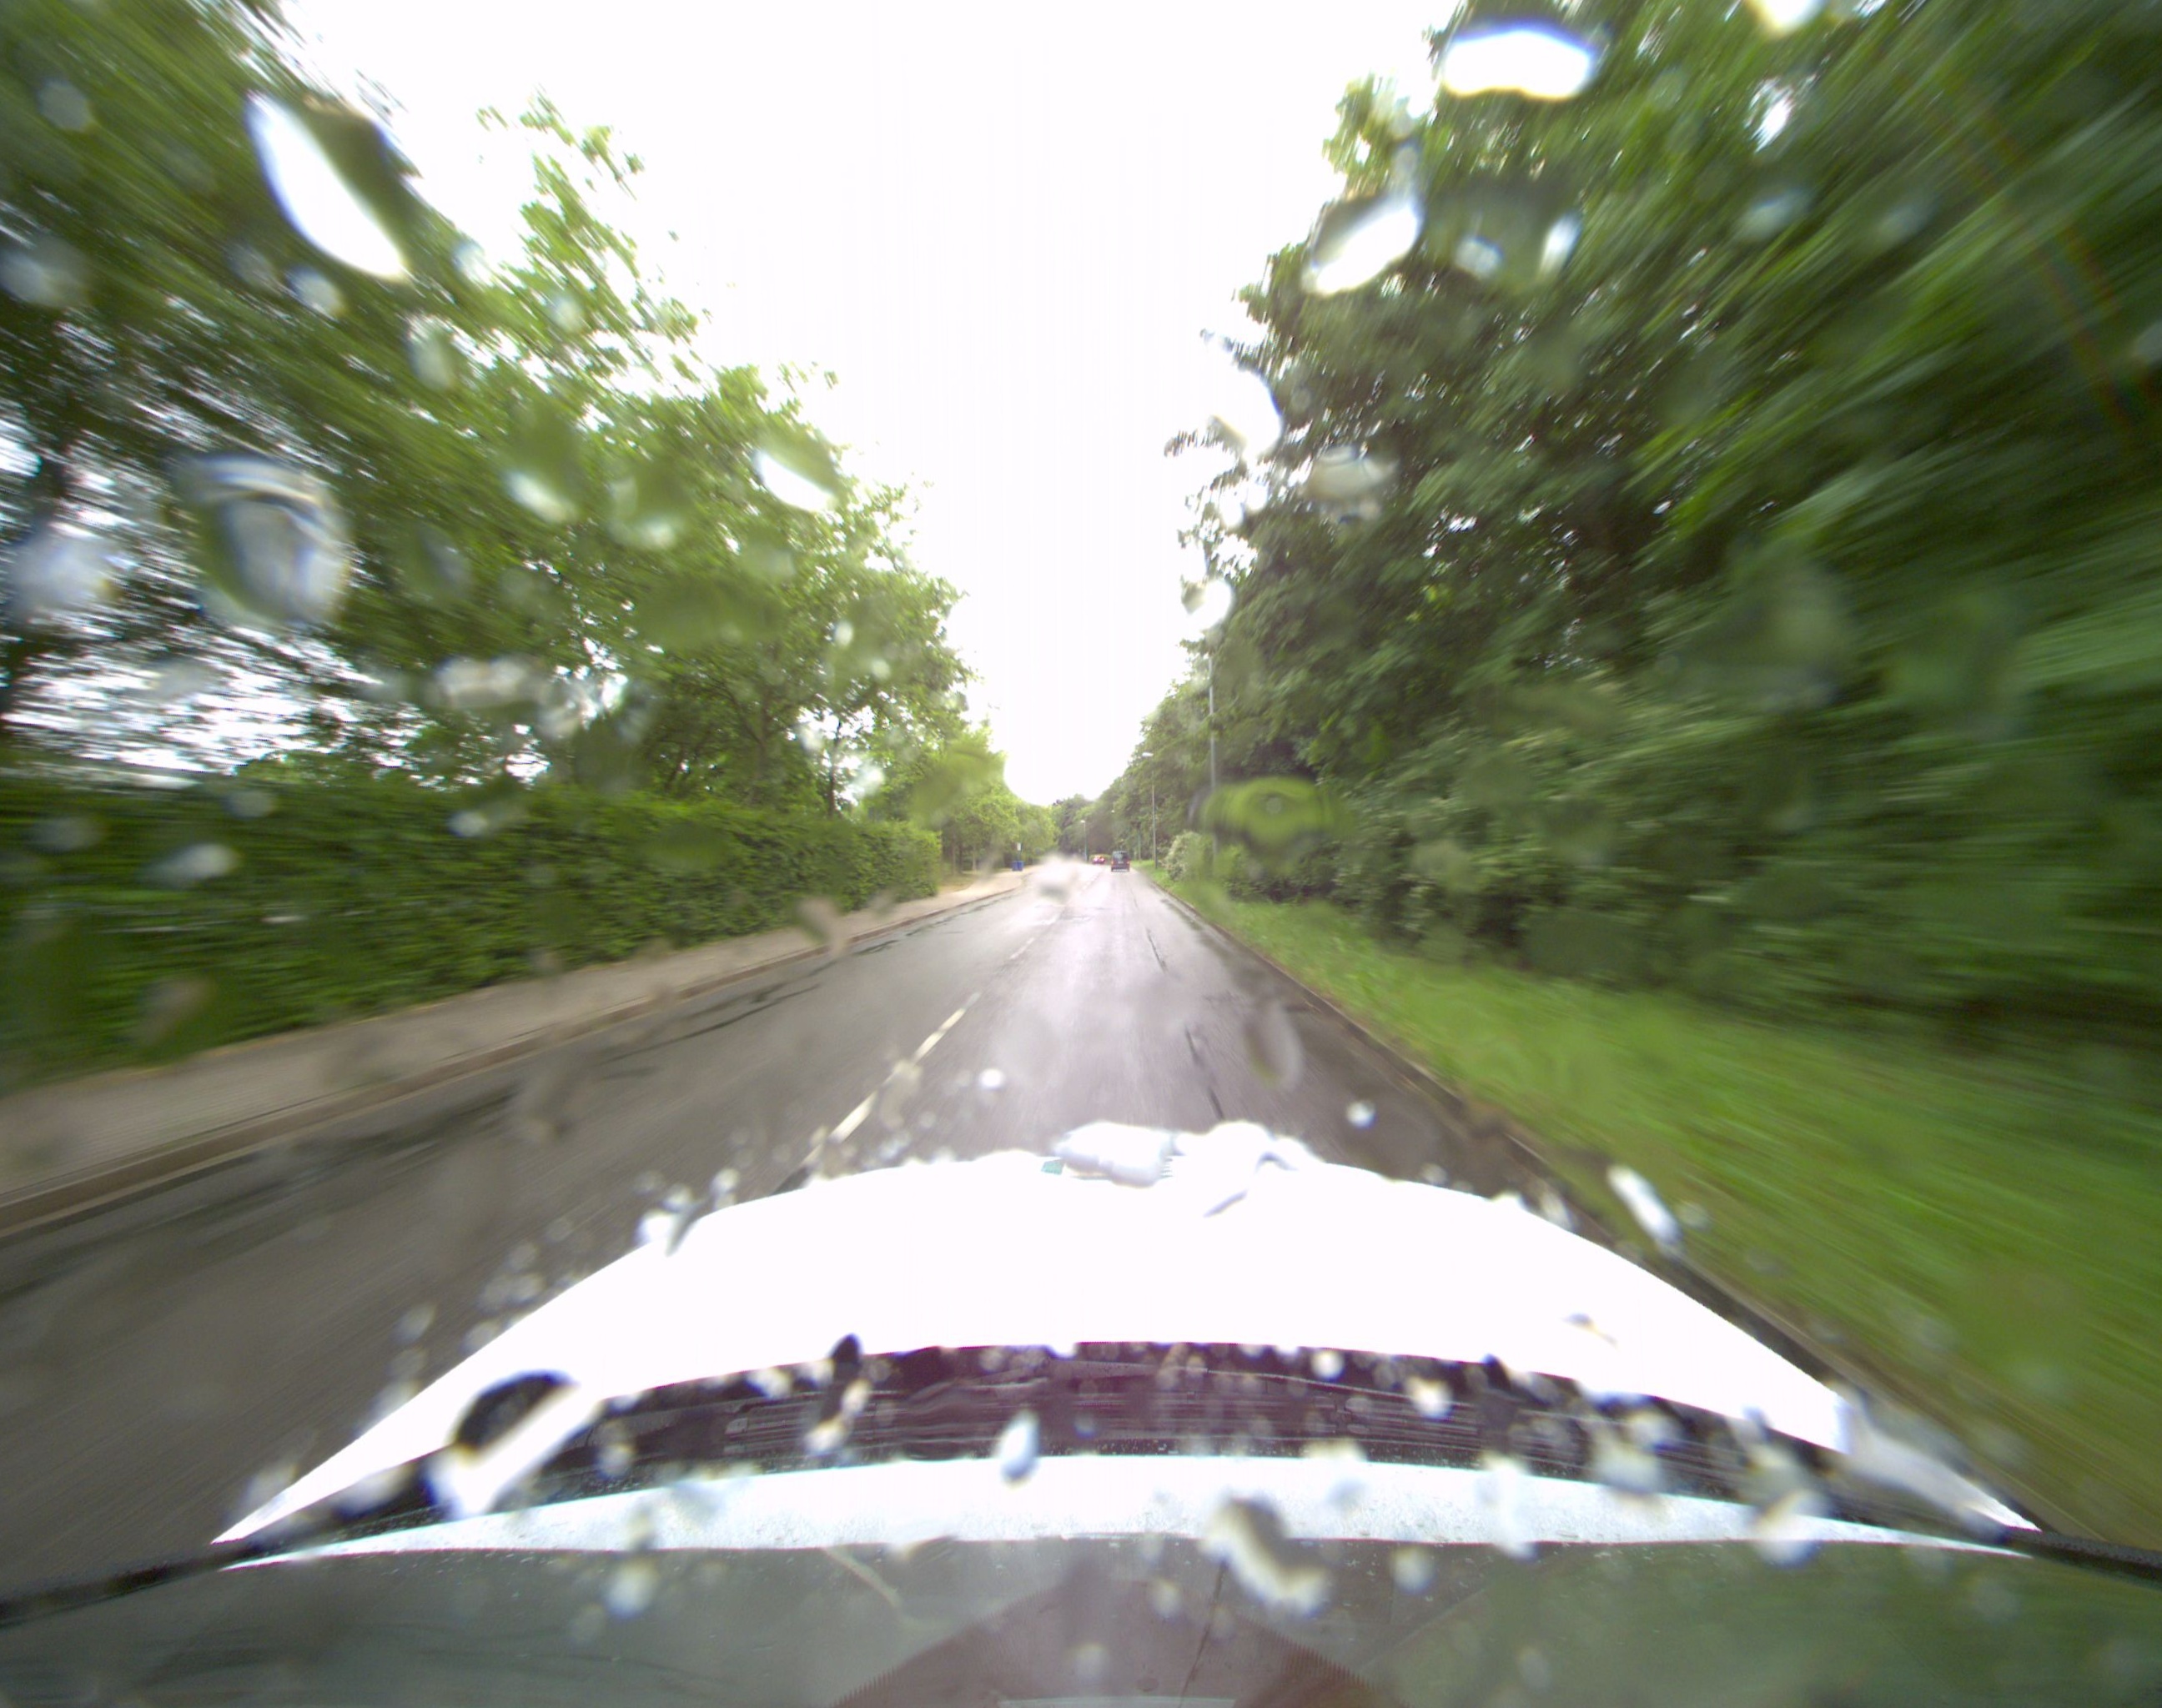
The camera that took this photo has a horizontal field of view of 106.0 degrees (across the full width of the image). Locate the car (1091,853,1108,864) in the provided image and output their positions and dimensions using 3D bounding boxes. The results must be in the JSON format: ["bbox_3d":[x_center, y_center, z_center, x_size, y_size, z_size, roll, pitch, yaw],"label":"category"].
[{"bbox_3d":[3.115,0.716,140.647,1.995,1.772,3.983,-2,0,-13],"label":"car"}]

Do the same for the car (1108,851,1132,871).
[{"bbox_3d":[3.640,0.627,76.147,1.987,1.793,3.999,1,1,-1],"label":"car"}]

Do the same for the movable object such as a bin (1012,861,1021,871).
[{"bbox_3d":[-7.224,1.328,91.398,0.670,1.026,0.827,-3,0,-29],"label":"movable object such as a bin"}]

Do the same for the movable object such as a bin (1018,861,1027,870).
[{"bbox_3d":[-6.588,1.313,91.742,0.670,1.026,0.827,-3,0,-29],"label":"movable object such as a bin"}]
